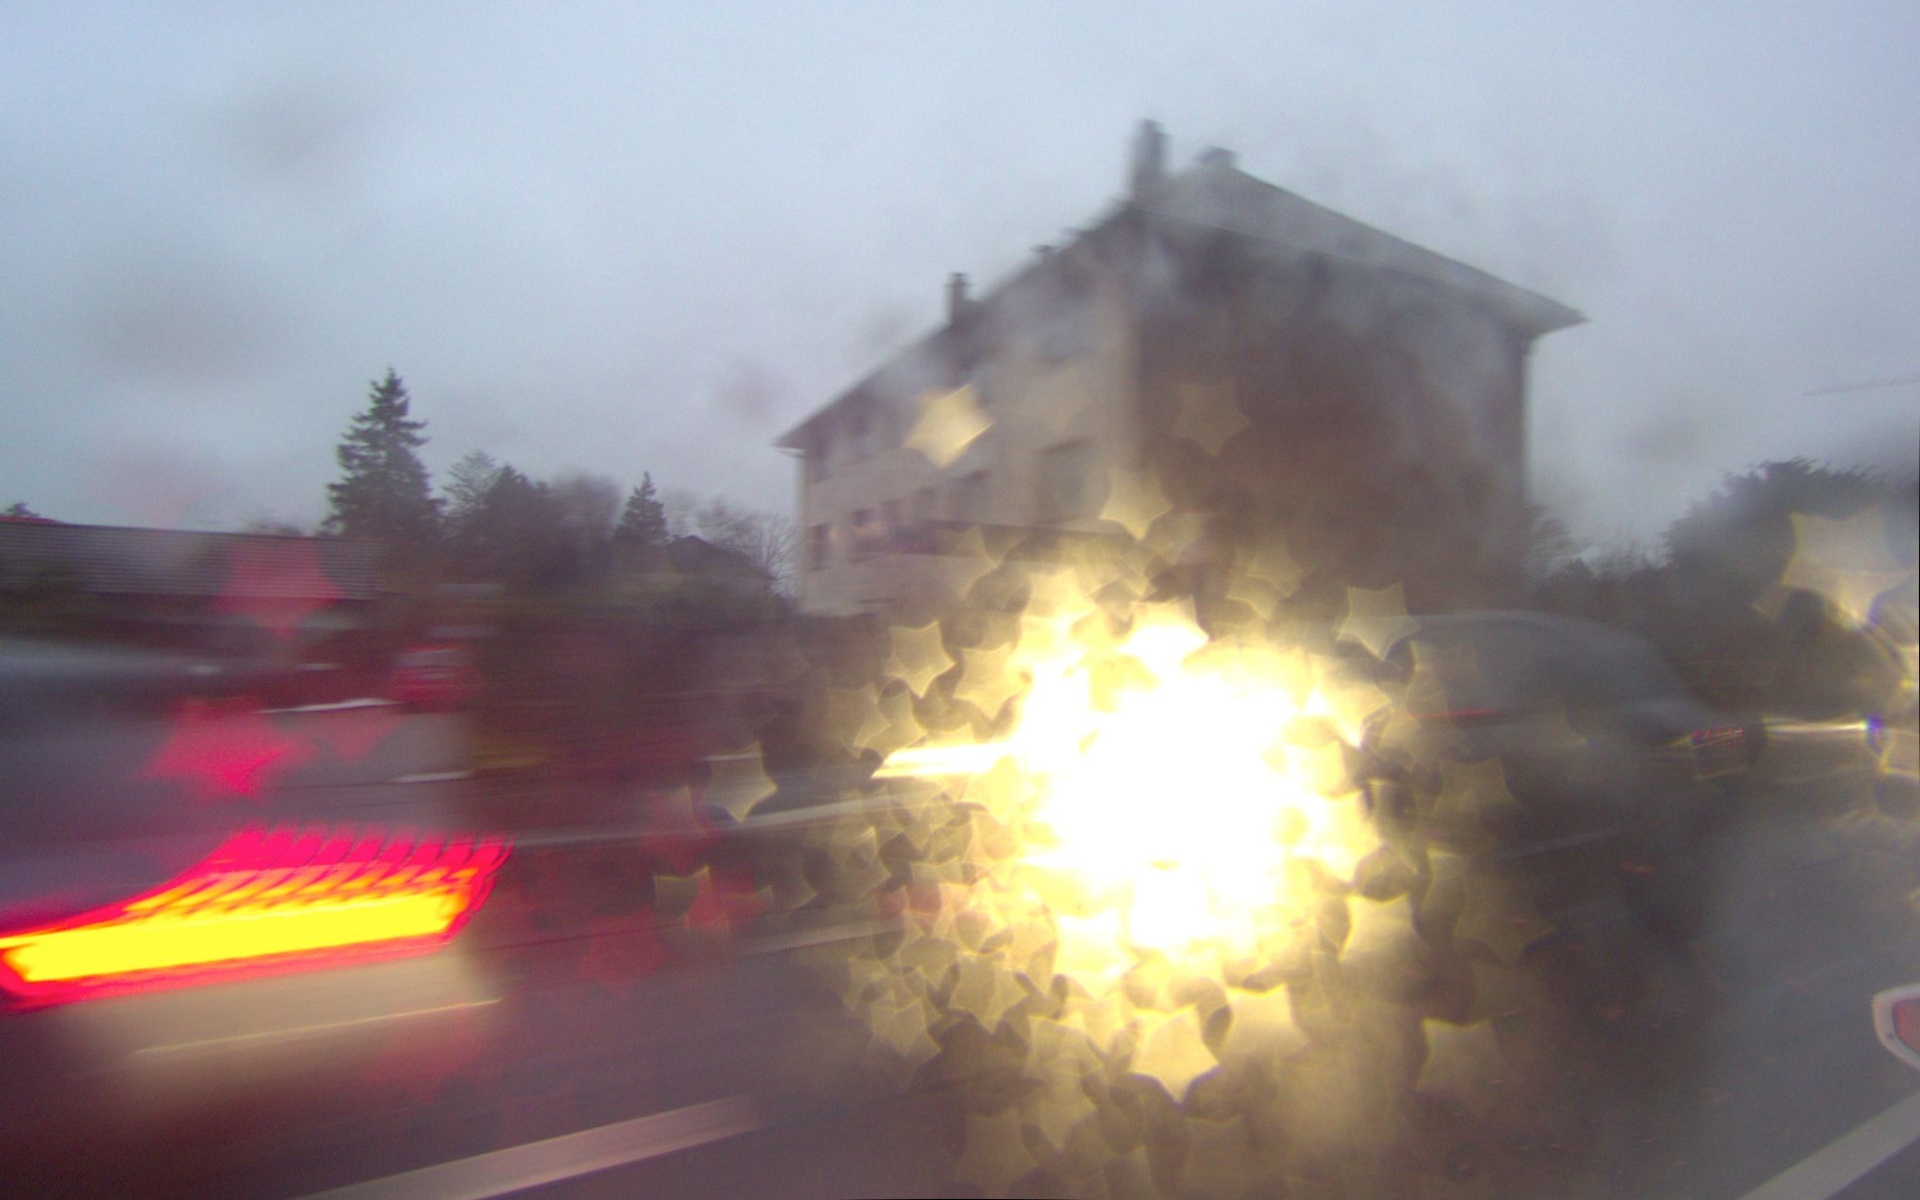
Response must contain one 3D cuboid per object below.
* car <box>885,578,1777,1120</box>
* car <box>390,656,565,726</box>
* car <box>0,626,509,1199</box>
[{"bbox_3d":[1.939,0.826,4.921,4.241,1.606,1.866,1,-3,-31],"label":"car"},{"bbox_3d":[-10.931,2.041,23.012,3.486,1.449,1.523,0,-3,-22],"label":"car"},{"bbox_3d":[-3.086,0.734,1.515,4.235,1.391,1.817,2,-3,-30],"label":"car"}]
